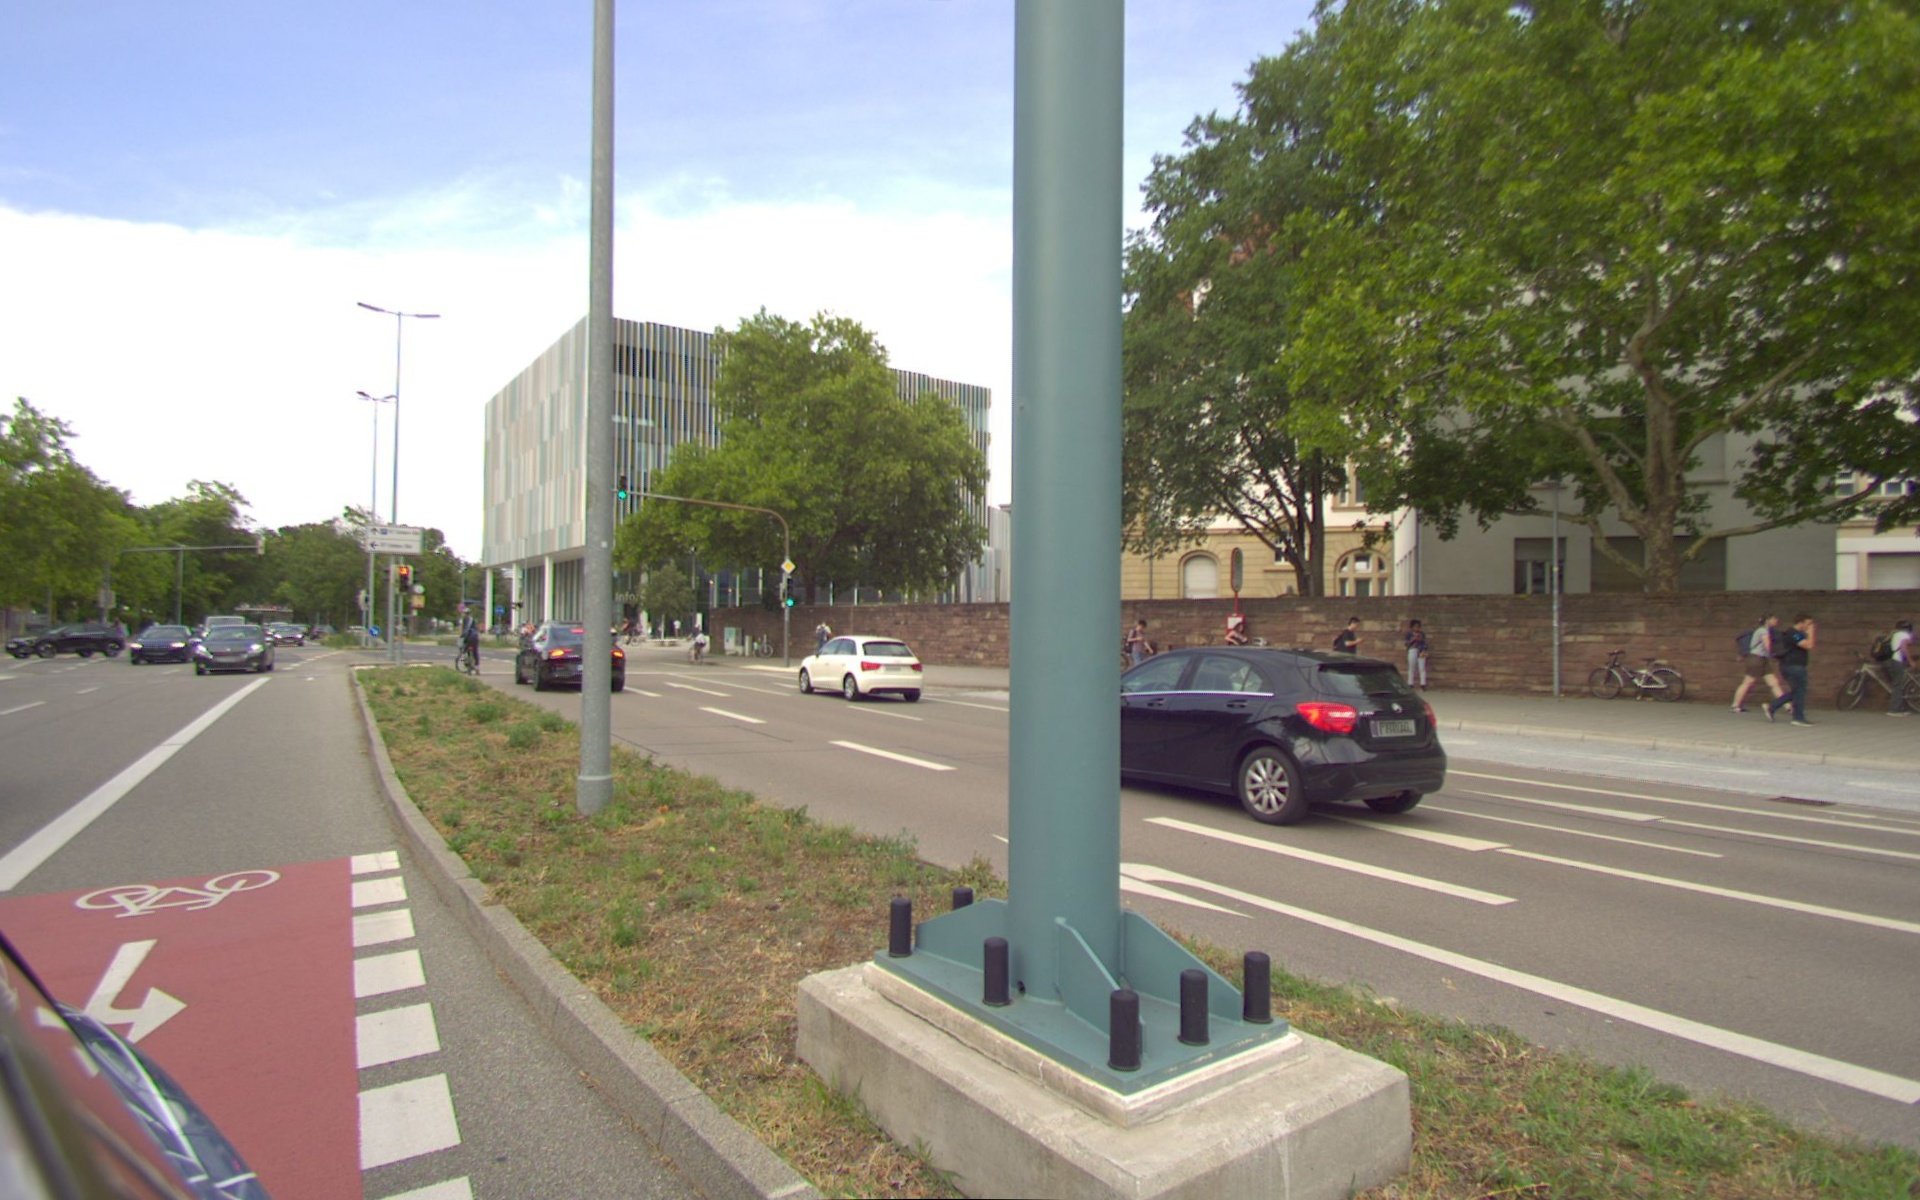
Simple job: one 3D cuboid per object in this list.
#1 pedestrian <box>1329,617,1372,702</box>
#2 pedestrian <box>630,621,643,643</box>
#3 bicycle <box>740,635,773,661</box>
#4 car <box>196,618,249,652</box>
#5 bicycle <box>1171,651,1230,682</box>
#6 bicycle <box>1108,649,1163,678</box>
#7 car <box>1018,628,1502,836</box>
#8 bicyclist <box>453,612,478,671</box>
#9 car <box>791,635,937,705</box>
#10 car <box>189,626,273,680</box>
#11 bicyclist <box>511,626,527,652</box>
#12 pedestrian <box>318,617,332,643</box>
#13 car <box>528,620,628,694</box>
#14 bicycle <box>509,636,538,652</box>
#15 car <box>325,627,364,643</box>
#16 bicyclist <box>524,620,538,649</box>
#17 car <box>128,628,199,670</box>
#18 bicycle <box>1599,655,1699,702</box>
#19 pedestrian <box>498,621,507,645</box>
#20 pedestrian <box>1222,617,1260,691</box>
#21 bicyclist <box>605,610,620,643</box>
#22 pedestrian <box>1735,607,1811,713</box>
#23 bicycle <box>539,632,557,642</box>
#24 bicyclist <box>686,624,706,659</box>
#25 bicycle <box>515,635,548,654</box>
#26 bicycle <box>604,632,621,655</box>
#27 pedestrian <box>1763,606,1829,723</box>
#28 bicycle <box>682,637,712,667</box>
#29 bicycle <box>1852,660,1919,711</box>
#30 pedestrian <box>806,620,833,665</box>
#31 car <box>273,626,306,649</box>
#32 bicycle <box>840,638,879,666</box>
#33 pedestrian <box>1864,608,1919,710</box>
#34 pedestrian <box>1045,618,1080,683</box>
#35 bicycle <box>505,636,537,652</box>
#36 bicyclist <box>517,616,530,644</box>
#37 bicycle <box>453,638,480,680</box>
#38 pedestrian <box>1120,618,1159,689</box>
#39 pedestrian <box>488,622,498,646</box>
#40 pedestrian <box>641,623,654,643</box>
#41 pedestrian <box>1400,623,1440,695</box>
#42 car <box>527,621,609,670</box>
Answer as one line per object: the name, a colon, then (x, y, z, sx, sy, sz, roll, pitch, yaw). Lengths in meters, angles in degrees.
pedestrian: (8.577, 1.279, 22.224, 0.780, 1.796, 0.754, 1, -1, 29)
pedestrian: (-25.758, 2.522, 80.704, 0.674, 1.753, 0.725, -1, -2, 21)
bicycle: (-9.233, 2.174, 45.952, 0.570, 1.134, 2.170, -2, 0, -36)
car: (-39.858, 1.903, 54.770, 1.966, 1.785, 4.011, 2, -2, -32)
bicycle: (6.599, 1.818, 27.834, 0.435, 0.803, 1.623, -1, -2, -41)
bicycle: (5.115, 1.854, 29.552, 0.435, 0.803, 1.623, -1, -2, -41)
car: (2.521, 1.033, 9.641, 1.730, 1.500, 4.390, 2, -3, -31)
bicyclist: (-13.403, 1.123, 27.449, 0.564, 1.586, 0.701, 1, -2, -28)
car: (-2.229, 1.521, 22.635, 1.647, 1.400, 3.933, 3, -3, -31)
car: (-21.785, 1.536, 30.377, 1.633, 1.475, 4.012, -1, -1, -30)
bicyclist: (-29.205, 2.580, 67.036, 0.723, 1.685, 0.718, -1, -1, 41)
pedestrian: (-45.267, 2.120, 72.121, 0.716, 1.867, 1.067, 1, -2, -37)
car: (-8.659, 1.216, 22.734, 1.776, 1.500, 4.420, 1, -2, -24)
bicycle: (-28.252, 2.866, 65.538, 0.571, 0.996, 1.669, -1, -3, 41)
car: (-59.079, 3.333, 97.124, 4.409, 1.500, 1.784, -1, -2, 38)
bicyclist: (-27.267, 2.171, 64.339, 0.561, 1.820, 0.593, -2, -3, 40)
car: (-30.491, 1.833, 38.827, 1.633, 1.475, 4.012, -1, -1, -31)
bicycle: (13.833, 1.563, 20.357, 1.620, 0.834, 0.436, -1, 0, 41)
pedestrian: (-35.502, 2.529, 78.531, 0.504, 1.851, 0.626, 2, -3, -36)
pedestrian: (7.055, 1.338, 25.363, 0.780, 1.796, 0.754, 1, -1, 26)
bicyclist: (-19.143, 1.468, 55.723, 0.609, 1.796, 0.814, 1, -2, -27)
pedestrian: (14.219, 1.026, 17.725, 0.911, 1.796, 0.754, 1, -1, 29)
bicycle: (-39.248, 3.531, 96.501, 1.522, 0.944, 0.395, -1, -1, -40)
bicyclist: (-10.997, 1.724, 42.170, 0.572, 1.430, 0.813, 1, -2, -33)
bicycle: (-27.259, 2.820, 64.357, 0.606, 1.179, 1.870, -1, -2, 40)
bicycle: (-19.127, 2.360, 55.650, 0.610, 1.226, 2.051, 1, -2, -27)
pedestrian: (13.248, 1.022, 16.058, 0.720, 1.796, 0.752, 1, -5, 34)
bicycle: (-10.949, 2.153, 42.098, 0.574, 1.179, 1.969, 2, -2, -33)
bicycle: (16.729, 1.503, 17.734, 1.620, 0.834, 0.436, -1, 0, 41)
pedestrian: (-5.741, 1.726, 41.390, 0.779, 1.796, 0.741, 1, -1, 23)
car: (-44.747, 2.492, 67.526, 1.635, 1.475, 4.009, -1, -1, -37)
bicycle: (-3.979, 2.049, 39.989, 0.541, 1.066, 1.984, -2, 0, -38)
pedestrian: (16.141, 0.991, 17.251, 0.920, 1.683, 0.754, 1, -1, 29)
pedestrian: (2.938, 1.429, 28.906, 0.779, 1.796, 0.740, 1, -1, 25)
bicycle: (-29.118, 2.935, 67.125, 0.728, 0.996, 1.797, -1, -1, 41)
bicyclist: (-28.261, 1.937, 65.545, 0.562, 1.820, 0.593, -1, -1, 41)
bicycle: (-13.398, 1.575, 27.441, 0.565, 1.063, 1.932, 1, -2, -28)
pedestrian: (4.685, 1.371, 26.405, 0.780, 1.796, 0.754, 1, -1, 28)
pedestrian: (-36.036, 2.614, 78.115, 0.504, 1.851, 0.774, 2, -3, -36)
pedestrian: (-24.734, 2.599, 80.218, 0.674, 1.612, 0.724, -1, -2, 24)
pedestrian: (10.543, 1.339, 23.194, 0.734, 1.604, 0.581, 1, -1, 35)
car: (-14.539, 1.650, 37.408, 1.777, 1.678, 4.310, 4, -3, -35)
